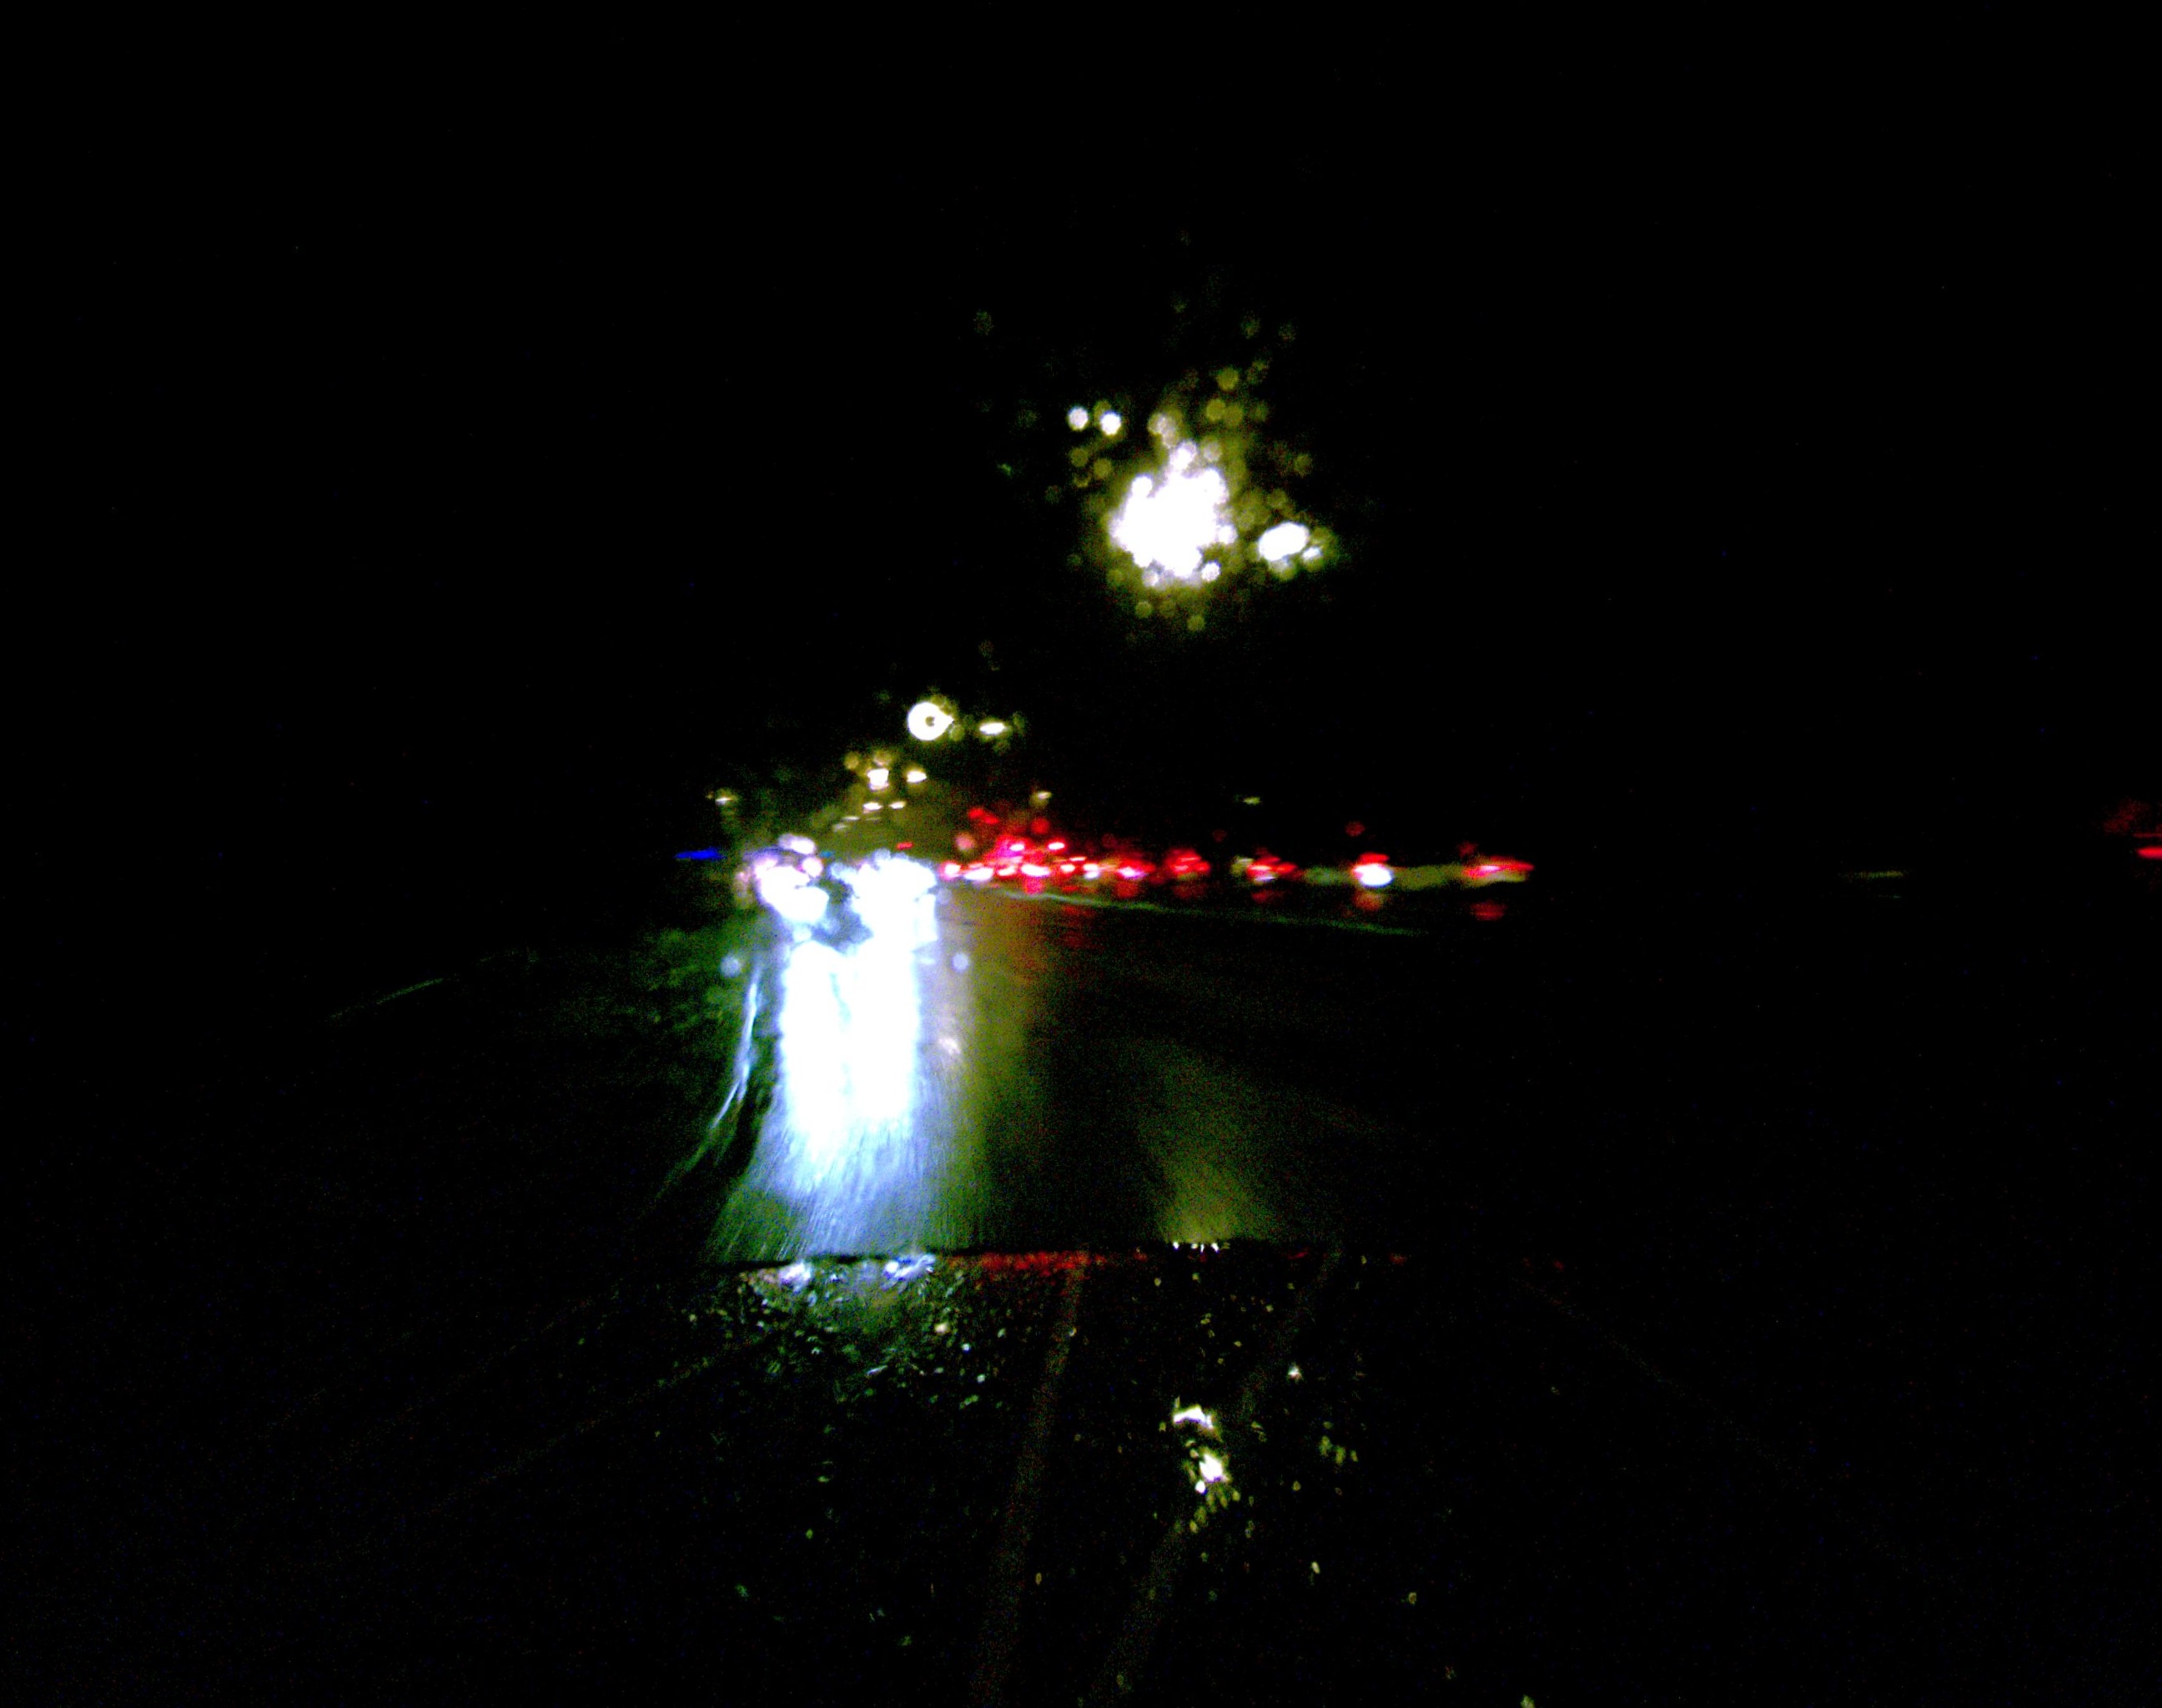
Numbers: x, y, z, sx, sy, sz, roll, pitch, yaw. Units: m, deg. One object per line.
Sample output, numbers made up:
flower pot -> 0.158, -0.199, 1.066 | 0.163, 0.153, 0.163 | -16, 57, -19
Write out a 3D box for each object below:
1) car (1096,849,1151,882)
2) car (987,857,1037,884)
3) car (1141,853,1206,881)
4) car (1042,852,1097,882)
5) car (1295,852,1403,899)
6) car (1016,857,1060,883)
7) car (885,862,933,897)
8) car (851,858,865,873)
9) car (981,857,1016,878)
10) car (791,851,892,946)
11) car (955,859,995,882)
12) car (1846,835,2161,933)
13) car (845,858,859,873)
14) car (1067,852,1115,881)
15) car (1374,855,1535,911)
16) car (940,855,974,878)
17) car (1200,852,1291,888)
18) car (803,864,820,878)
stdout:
car -> 2.569, 0.655, 47.051 | 1.767, 1.838, 4.116 | -2, 2, -22
car -> -4.311, 1.010, 47.026 | 1.821, 1.568, 4.298 | -1, 0, -23
car -> 4.978, 0.662, 41.417 | 1.767, 1.369, 4.031 | -2, 2, -22
car -> -0.739, 0.733, 46.234 | 1.806, 1.656, 4.478 | -2, 2, -22
car -> 10.132, 0.794, 29.050 | 1.499, 1.593, 4.138 | -3, 0, -22
car -> -2.999, 1.069, 52.708 | 1.806, 1.656, 3.968 | -2, 2, -22
car -> -9.191, 1.298, 40.391 | 1.833, 1.640, 4.129 | -3, 1, -21
car -> -30.934, 1.616, 105.305 | 1.669, 1.843, 4.139 | -3, 2, -19
car -> -6.594, 1.047, 60.609 | 1.720, 1.479, 4.050 | -2, 2, -21
car -> -6.356, 1.028, 19.876 | 2.006, 1.915, 4.361 | -9, 4, -20
car -> -7.529, 1.155, 53.446 | 1.784, 1.475, 4.404 | -3, 0, -21
car -> 13.794, 0.380, 10.895 | 1.650, 1.196, 3.608 | -2, 0, -23
car -> -33.826, 1.608, 112.178 | 1.795, 2.013, 4.139 | -3, 2, -19
car -> 0.636, 0.925, 53.296 | 1.806, 1.787, 4.245 | -2, -3, -22
car -> 11.562, 0.858, 23.901 | 1.891, 1.521, 4.424 | -2, 0, -20
car -> -9.713, 0.972, 59.246 | 1.767, 1.715, 3.894 | -3, 0, -22
car -> 7.500, 0.688, 35.146 | 1.860, 1.530, 4.523 | 1, 1, -22
car -> -36.359, 2.306, 102.523 | 1.960, 1.624, 4.251 | -3, 2, -19
